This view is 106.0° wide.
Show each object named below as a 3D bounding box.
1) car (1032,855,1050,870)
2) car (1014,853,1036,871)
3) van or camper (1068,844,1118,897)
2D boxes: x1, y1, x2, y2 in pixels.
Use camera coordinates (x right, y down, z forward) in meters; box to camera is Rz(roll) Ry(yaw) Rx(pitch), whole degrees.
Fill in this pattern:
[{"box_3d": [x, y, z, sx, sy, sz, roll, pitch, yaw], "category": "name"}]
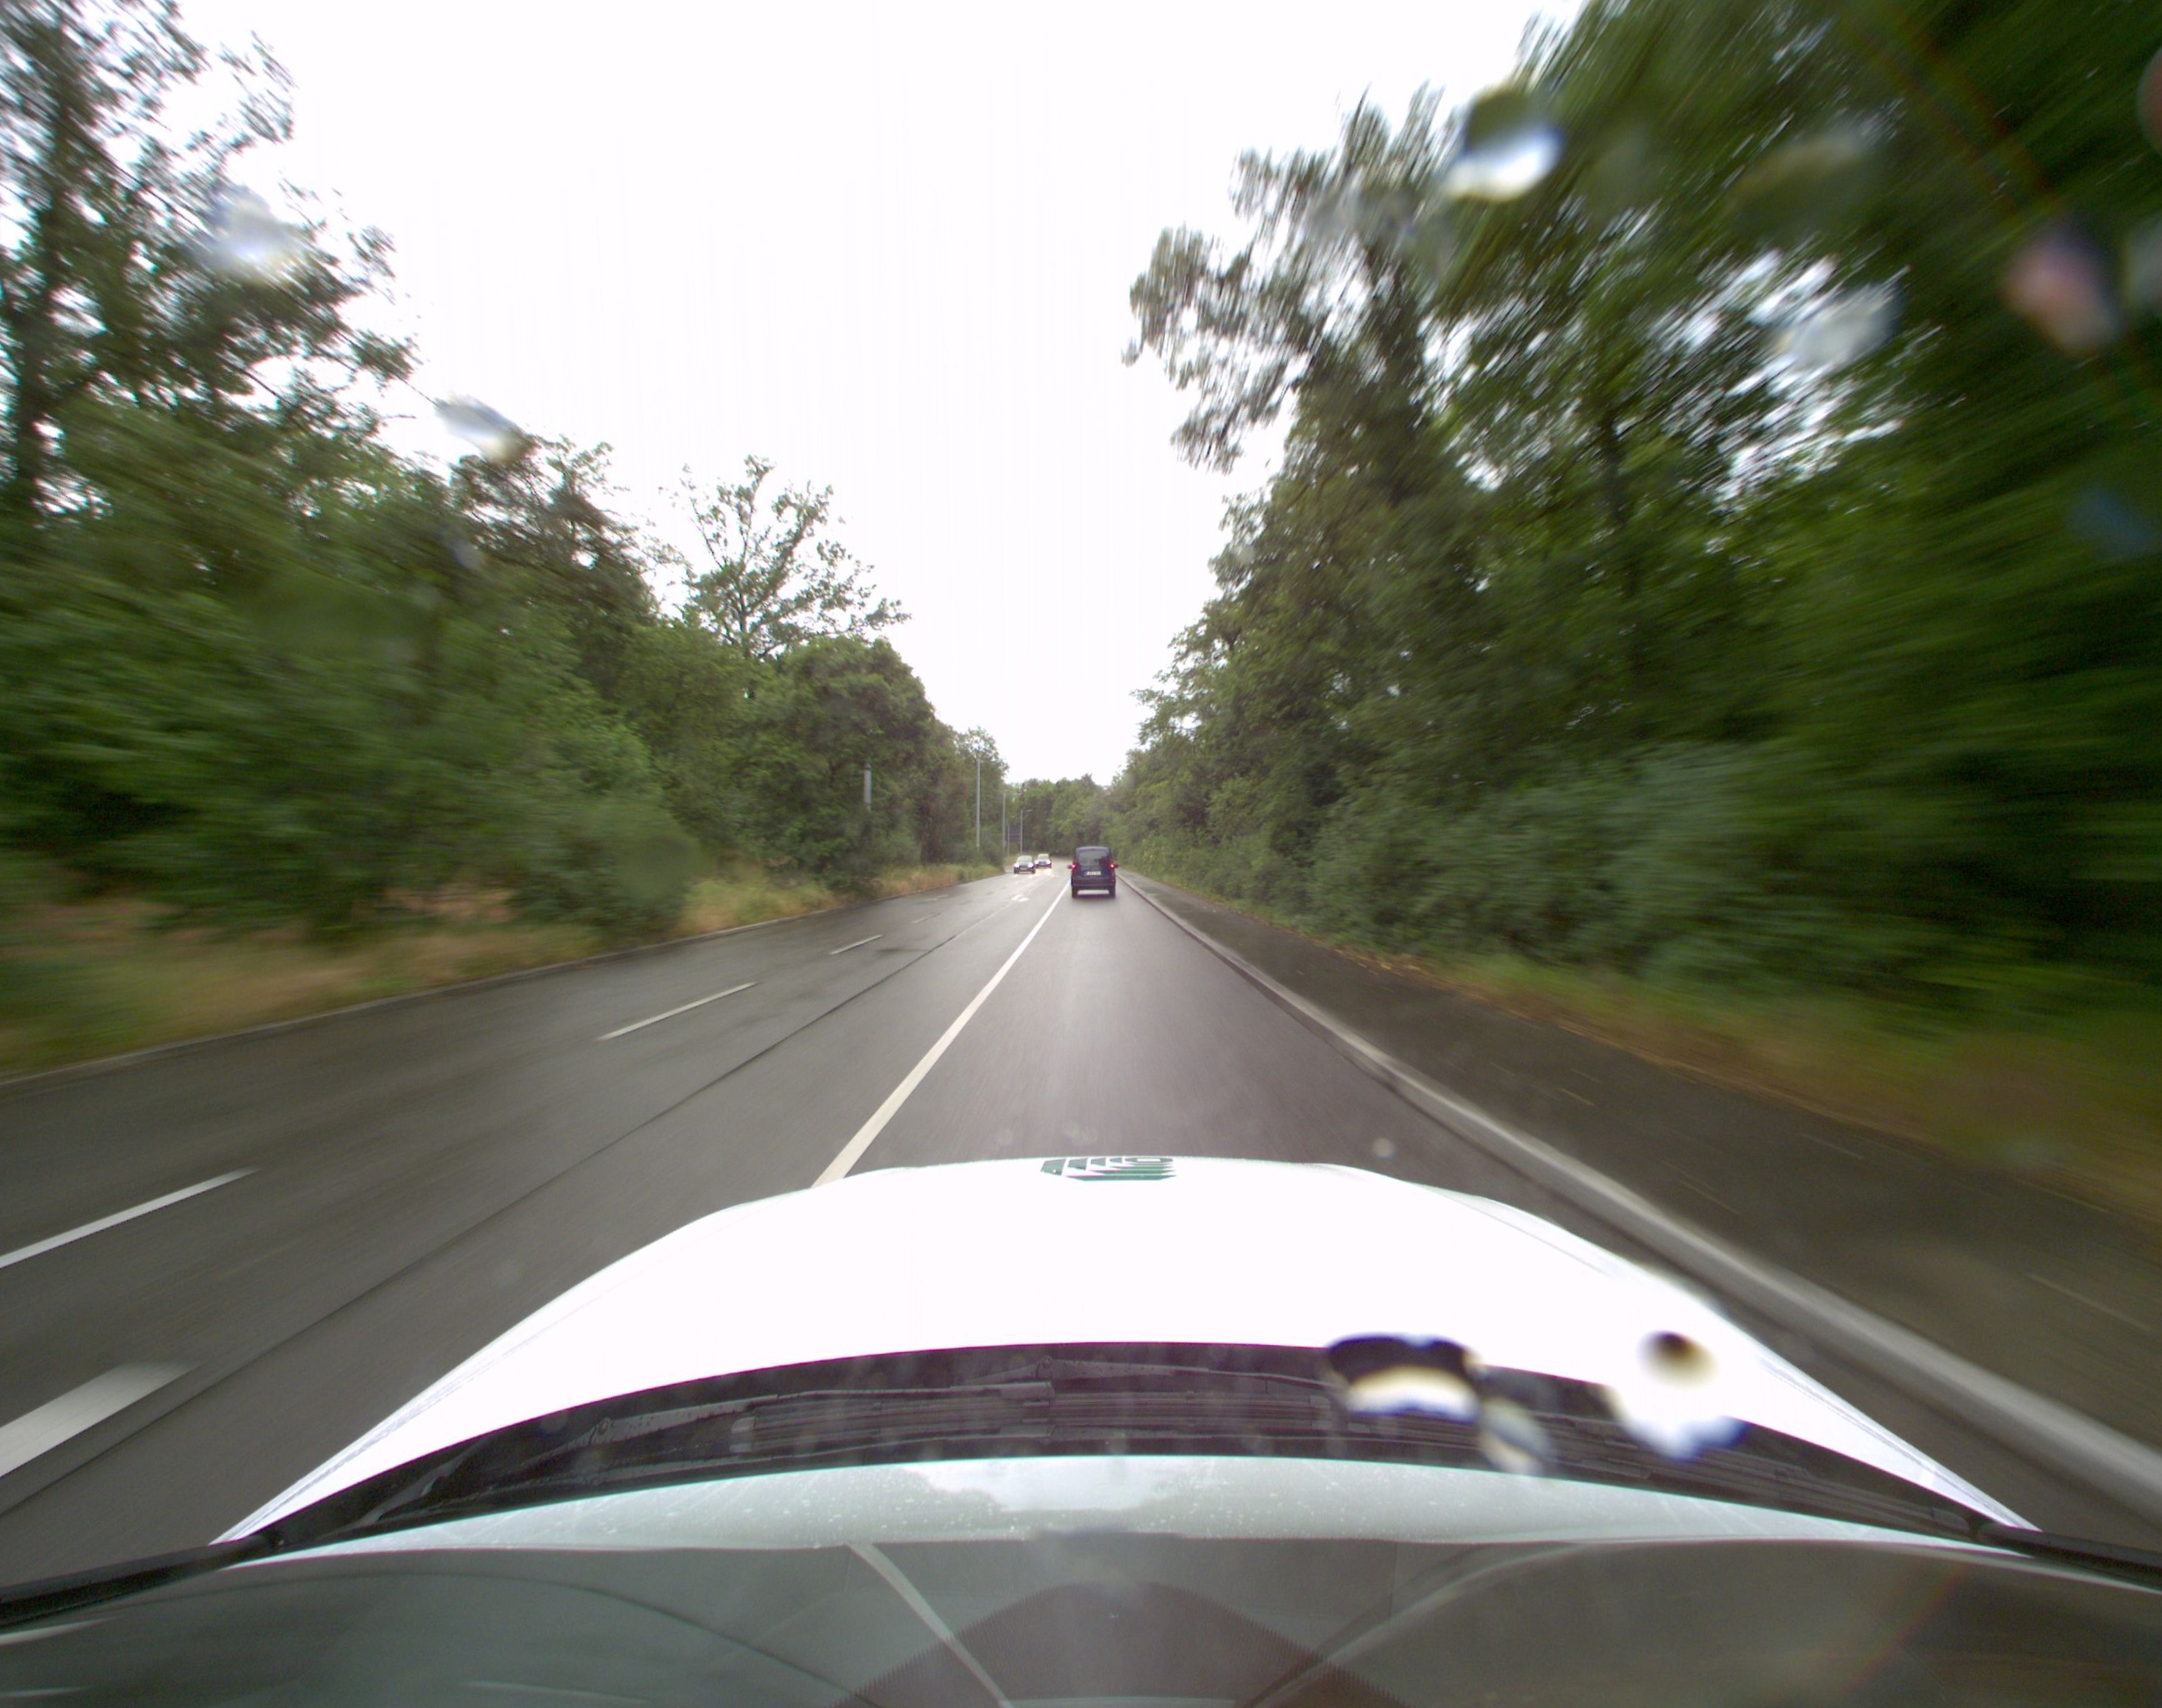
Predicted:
[{"box_3d": [-4.506, 0.982, 92.749, 1.765, 1.610, 4.084, 0, 0, 1], "category": "car"}, {"box_3d": [-4.726, 0.662, 69.352, 1.593, 1.441, 3.990, -1, 0, 0], "category": "car"}, {"box_3d": [0.445, 0.570, 30.888, 1.707, 1.825, 4.000, -2, 0, 0], "category": "van or camper"}]
